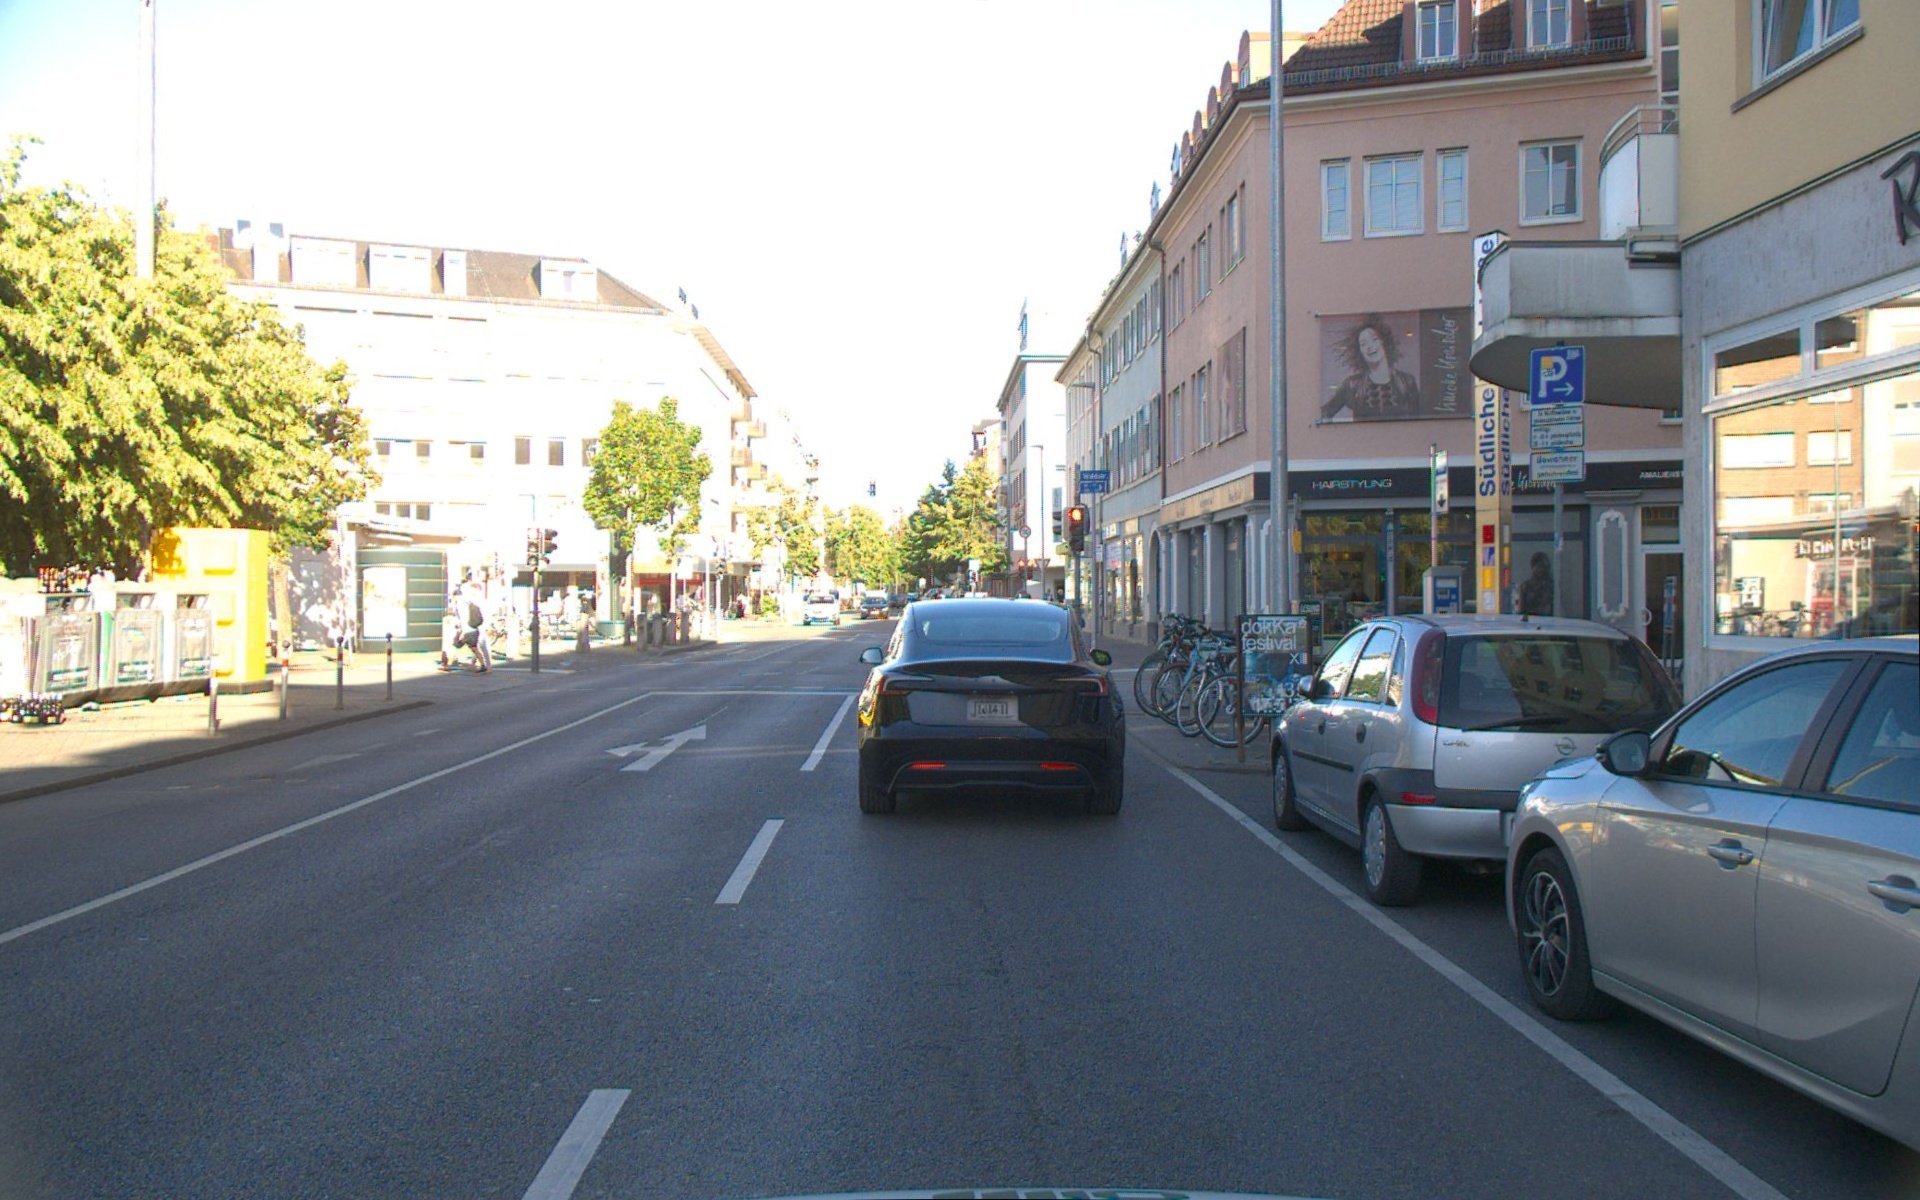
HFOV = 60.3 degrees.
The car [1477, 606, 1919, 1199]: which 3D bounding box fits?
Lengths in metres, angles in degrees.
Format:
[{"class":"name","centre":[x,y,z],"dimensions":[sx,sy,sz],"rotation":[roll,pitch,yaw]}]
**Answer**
[{"class":"car","centre":[3.039,0.762,4.835],"dimensions":[1.637,1.452,4.075],"rotation":[0,0,-2]}]

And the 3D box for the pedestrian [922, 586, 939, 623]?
[{"class":"pedestrian","centre":[-1.675,0.258,93.815],"dimensions":[0.742,2.049,0.791],"rotation":[0,0,-27]}]

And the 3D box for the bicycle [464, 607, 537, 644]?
[{"class":"bicycle","centre":[-14.137,0.778,50.917],"dimensions":[2.040,1.123,0.806],"rotation":[0,0,-1]}]

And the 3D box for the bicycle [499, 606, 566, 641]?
[{"class":"bicycle","centre":[-14.394,0.788,55.688],"dimensions":[2.040,1.123,0.806],"rotation":[0,0,-1]}]

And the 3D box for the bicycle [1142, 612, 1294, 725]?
[{"class":"bicycle","centre":[2.867,0.754,18.423],"dimensions":[1.595,1.180,0.432],"rotation":[-2,0,-2]}]

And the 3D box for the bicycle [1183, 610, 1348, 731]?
[{"class":"bicycle","centre":[3.151,0.724,17.114],"dimensions":[1.595,1.180,0.432],"rotation":[-2,0,-2]}]

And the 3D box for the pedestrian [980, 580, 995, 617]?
[{"class":"pedestrian","centre":[1.518,-0.094,90.746],"dimensions":[0.614,2.049,0.559],"rotation":[0,0,24]}]

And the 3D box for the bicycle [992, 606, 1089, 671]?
[{"class":"bicycle","centre":[1.377,0.652,28.198],"dimensions":[1.581,1.063,0.591],"rotation":[1,0,9]}]

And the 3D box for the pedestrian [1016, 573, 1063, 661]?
[{"class":"pedestrian","centre":[1.366,0.285,28.205],"dimensions":[0.727,1.466,0.583],"rotation":[1,0,9]}]

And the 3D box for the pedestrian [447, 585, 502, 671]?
[{"class":"pedestrian","centre":[-10.101,0.568,34.406],"dimensions":[0.882,1.755,0.744],"rotation":[0,0,3]}]

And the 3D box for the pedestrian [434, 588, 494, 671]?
[{"class":"pedestrian","centre":[-10.081,0.595,33.634],"dimensions":[0.966,1.665,0.737],"rotation":[0,0,3]}]

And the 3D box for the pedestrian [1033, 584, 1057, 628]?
[{"class":"pedestrian","centre":[3.666,0.256,71.397],"dimensions":[0.979,1.883,0.615],"rotation":[0,0,-1]}]

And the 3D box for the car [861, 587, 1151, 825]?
[{"class":"car","centre":[0.294,0.659,12.260],"dimensions":[1.812,1.480,3.786],"rotation":[0,0,0]}]

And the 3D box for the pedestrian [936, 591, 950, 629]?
[{"class":"pedestrian","centre":[-0.931,0.549,90.556],"dimensions":[0.613,2.049,0.559],"rotation":[0,0,19]}]

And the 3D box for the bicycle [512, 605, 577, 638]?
[{"class":"bicycle","centre":[-14.531,0.743,57.880],"dimensions":[2.040,1.123,0.806],"rotation":[0,0,-1]}]

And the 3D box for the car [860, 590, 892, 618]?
[{"class":"car","centre":[-5.383,0.261,106.548],"dimensions":[2.009,1.757,4.651],"rotation":[0,0,-3]}]

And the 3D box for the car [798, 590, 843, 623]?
[{"class":"car","centre":[-7.205,0.332,85.871],"dimensions":[1.953,1.567,3.999],"rotation":[-3,0,-1]}]

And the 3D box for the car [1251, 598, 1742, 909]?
[{"class":"car","centre":[2.813,0.703,9.562],"dimensions":[1.588,1.419,3.886],"rotation":[0,0,0]}]

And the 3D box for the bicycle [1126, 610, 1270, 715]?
[{"class":"bicycle","centre":[2.804,0.731,19.550],"dimensions":[1.595,1.180,0.432],"rotation":[-2,0,-2]}]

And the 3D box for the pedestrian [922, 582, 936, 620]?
[{"class":"pedestrian","centre":[-1.695,0.055,91.008],"dimensions":[0.613,2.049,0.559],"rotation":[0,0,19]}]

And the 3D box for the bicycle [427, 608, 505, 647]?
[{"class":"bicycle","centre":[-14.436,0.793,48.393],"dimensions":[2.040,1.123,0.806],"rotation":[0,0,-1]}]

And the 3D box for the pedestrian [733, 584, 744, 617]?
[{"class":"pedestrian","centre":[-13.852,0.044,103.266],"dimensions":[0.613,2.049,0.575],"rotation":[0,0,-1]}]

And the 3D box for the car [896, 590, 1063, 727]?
[{"class":"car","centre":[0.217,0.632,19.885],"dimensions":[1.812,1.480,3.786],"rotation":[0,0,0]}]

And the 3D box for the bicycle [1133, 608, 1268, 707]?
[{"class":"bicycle","centre":[3.001,0.714,20.693],"dimensions":[1.594,1.180,0.433],"rotation":[-2,0,0]}]
